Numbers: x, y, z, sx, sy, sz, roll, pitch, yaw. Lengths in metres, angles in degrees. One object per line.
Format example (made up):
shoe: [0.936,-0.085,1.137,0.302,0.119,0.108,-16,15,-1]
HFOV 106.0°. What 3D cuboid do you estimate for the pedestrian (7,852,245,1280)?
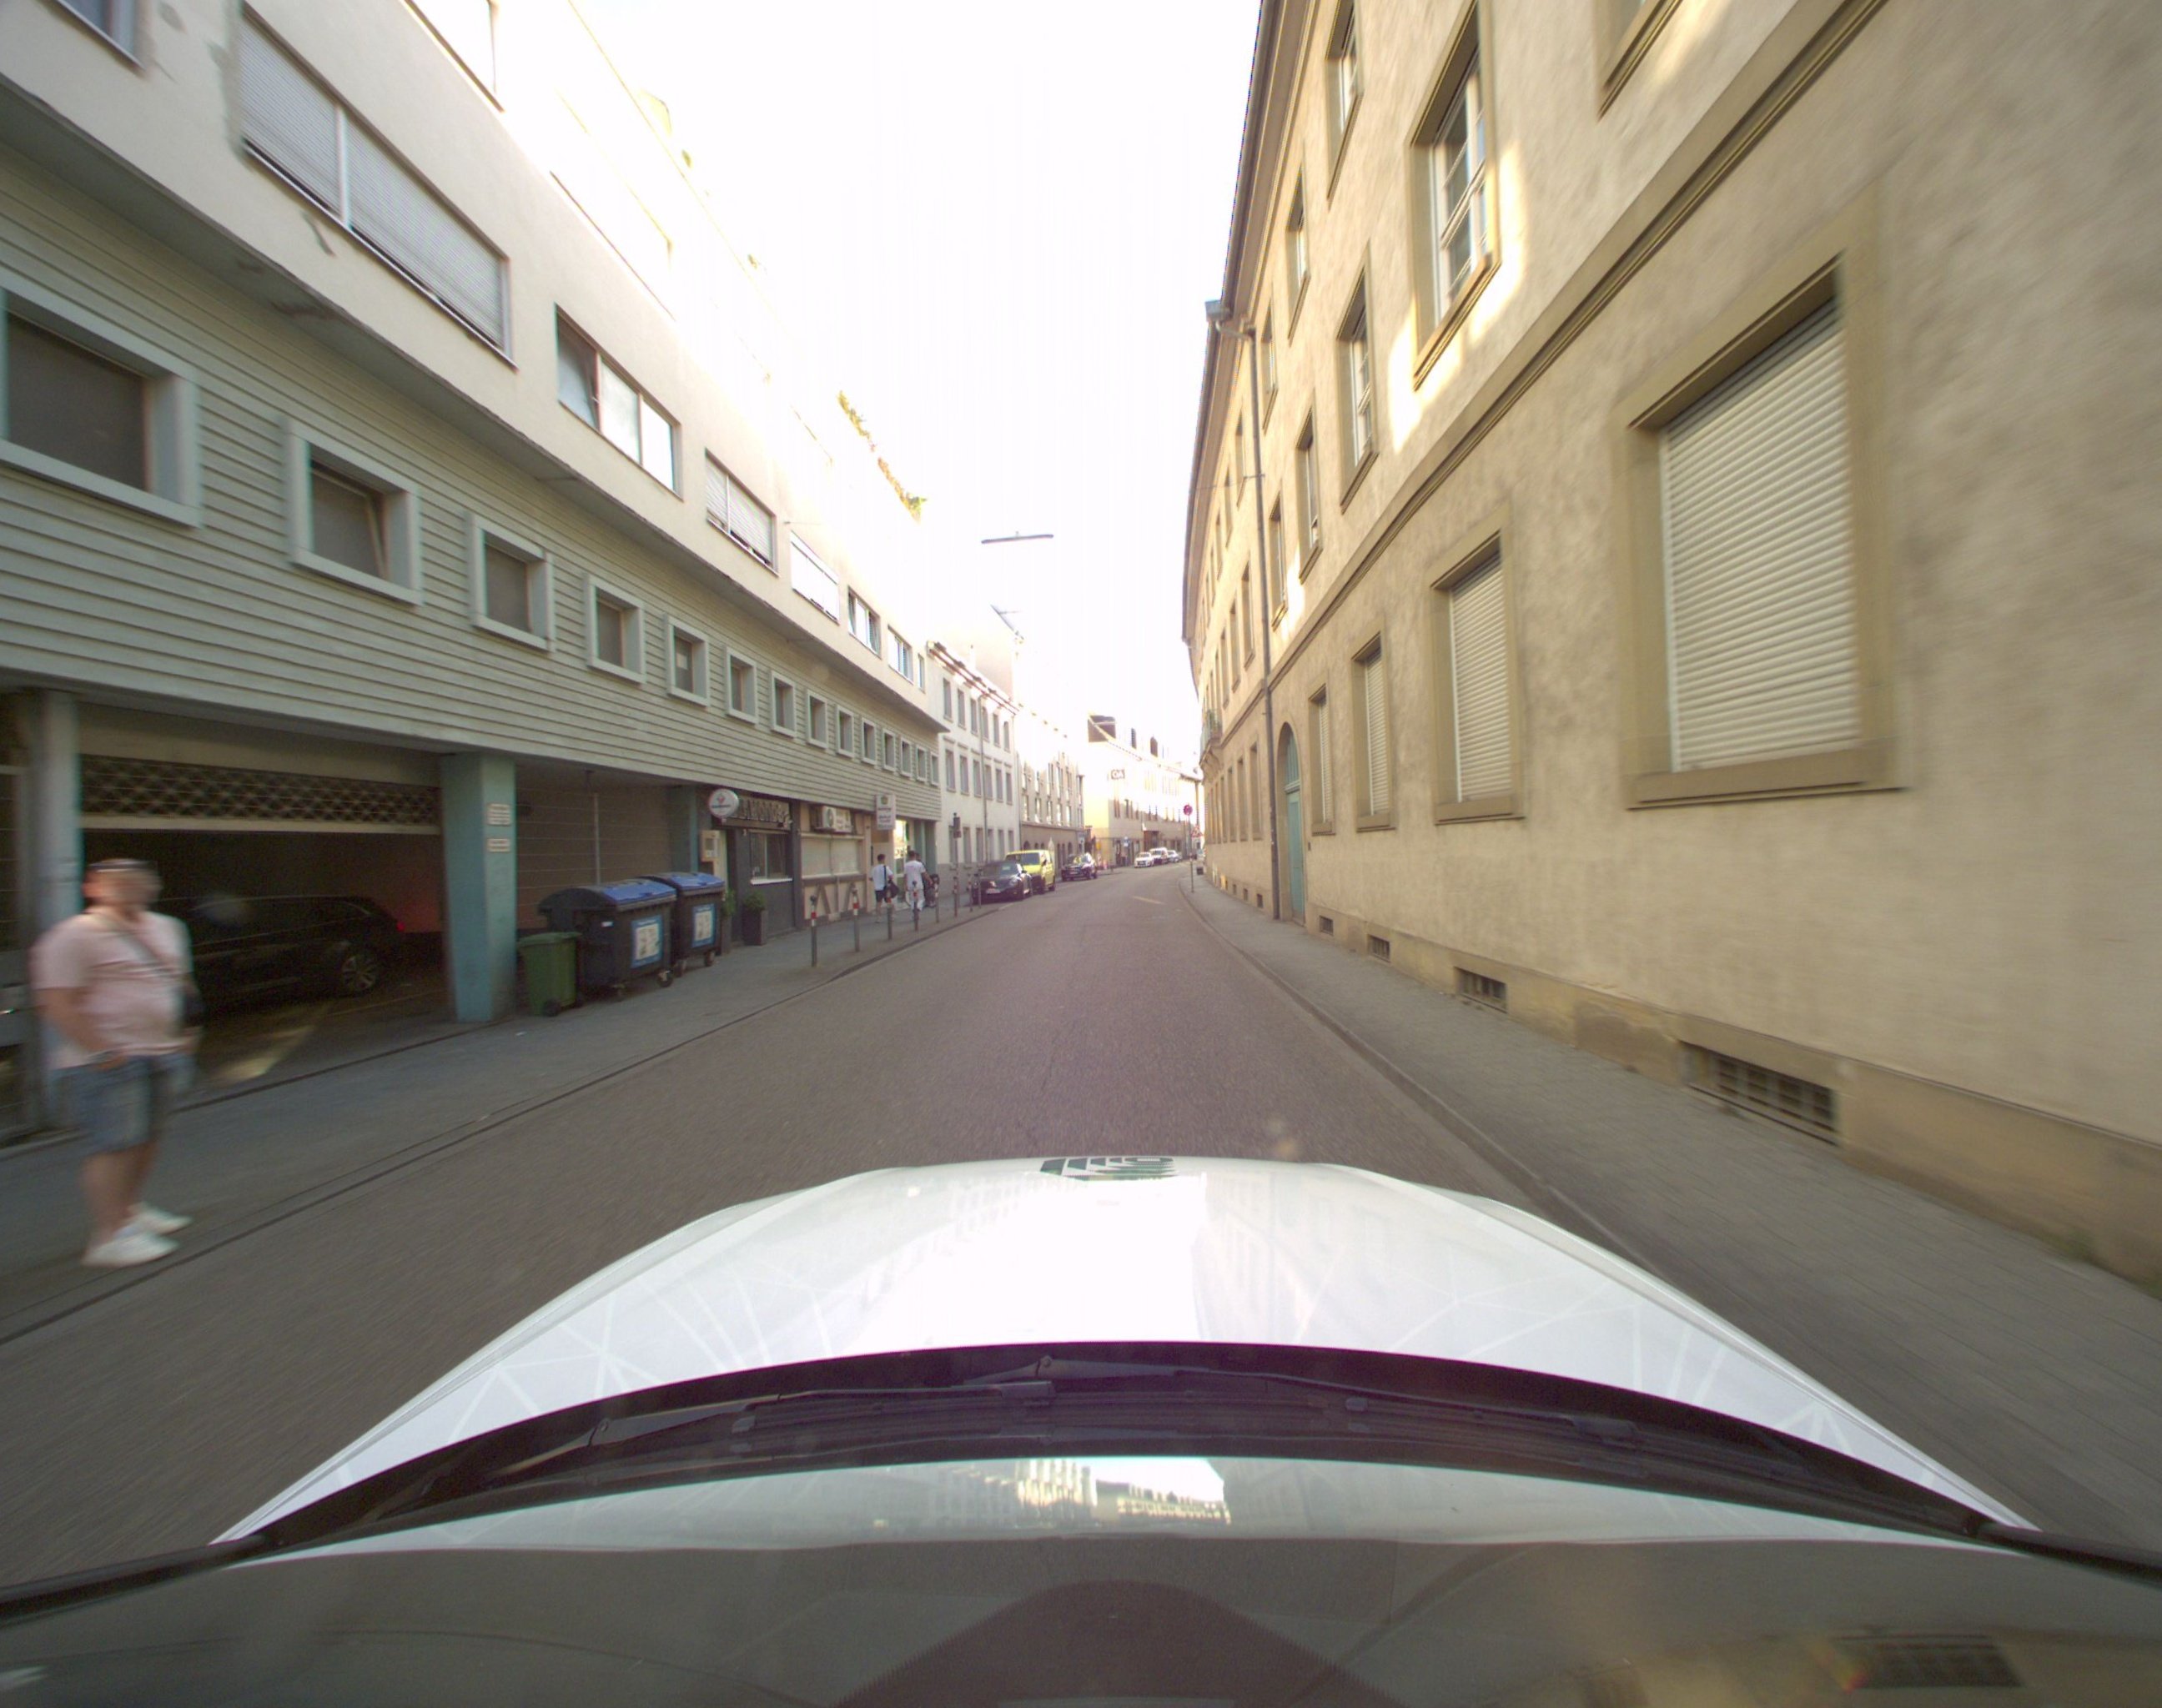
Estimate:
pedestrian: [-4.128,0.825,3.570,0.631,1.669,0.487,0,0,-45]

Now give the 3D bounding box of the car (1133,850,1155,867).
car: [6.392,0.443,82.360,1.659,1.507,3.806,-4,0,12]

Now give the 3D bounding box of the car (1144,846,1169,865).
car: [8.218,0.159,87.998,1.657,1.818,4.572,-4,0,17]

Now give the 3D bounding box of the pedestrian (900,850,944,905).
pedestrian: [-5.245,0.775,26.922,1.067,1.728,0.807,-3,0,27]

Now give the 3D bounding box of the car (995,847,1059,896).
car: [-2.292,0.721,35.890,1.870,1.866,4.872,-5,0,6]

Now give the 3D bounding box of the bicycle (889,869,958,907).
bicycle: [-5.201,1.115,26.906,2.108,1.163,0.828,-3,0,27]

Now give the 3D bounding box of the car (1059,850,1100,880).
car: [-0.047,0.669,52.326,1.729,1.711,4.202,-5,0,10]

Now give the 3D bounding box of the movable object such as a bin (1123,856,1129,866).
movable object such as a bin: [4.624,0.714,83.880,0.605,1.060,0.715,0,0,8]

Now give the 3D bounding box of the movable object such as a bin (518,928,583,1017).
movable object such as a bin: [-6.146,1.359,9.445,0.391,0.942,0.467,-3,0,2]

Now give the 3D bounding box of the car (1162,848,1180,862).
car: [10.387,0.132,93.899,1.261,1.507,3.418,-4,0,18]

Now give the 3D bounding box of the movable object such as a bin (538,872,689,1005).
movable object such as a bin: [-5.940,1.026,10.459,0.964,1.471,1.475,-3,1,2]

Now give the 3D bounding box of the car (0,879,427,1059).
car: [-10.910,1.186,10.042,1.755,1.535,4.605,-2,0,3]

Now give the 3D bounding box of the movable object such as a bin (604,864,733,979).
movable object such as a bin: [-6.080,0.963,12.102,1.118,1.520,1.343,-3,1,2]

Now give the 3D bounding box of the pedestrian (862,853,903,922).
pedestrian: [-5.034,0.829,20.714,0.669,1.669,0.896,-3,0,4]

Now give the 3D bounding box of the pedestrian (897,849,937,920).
pedestrian: [-4.141,0.754,20.647,0.695,1.734,0.830,-4,0,4]

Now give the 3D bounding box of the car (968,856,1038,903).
car: [-2.847,0.898,30.528,1.811,1.486,4.081,-5,0,4]
